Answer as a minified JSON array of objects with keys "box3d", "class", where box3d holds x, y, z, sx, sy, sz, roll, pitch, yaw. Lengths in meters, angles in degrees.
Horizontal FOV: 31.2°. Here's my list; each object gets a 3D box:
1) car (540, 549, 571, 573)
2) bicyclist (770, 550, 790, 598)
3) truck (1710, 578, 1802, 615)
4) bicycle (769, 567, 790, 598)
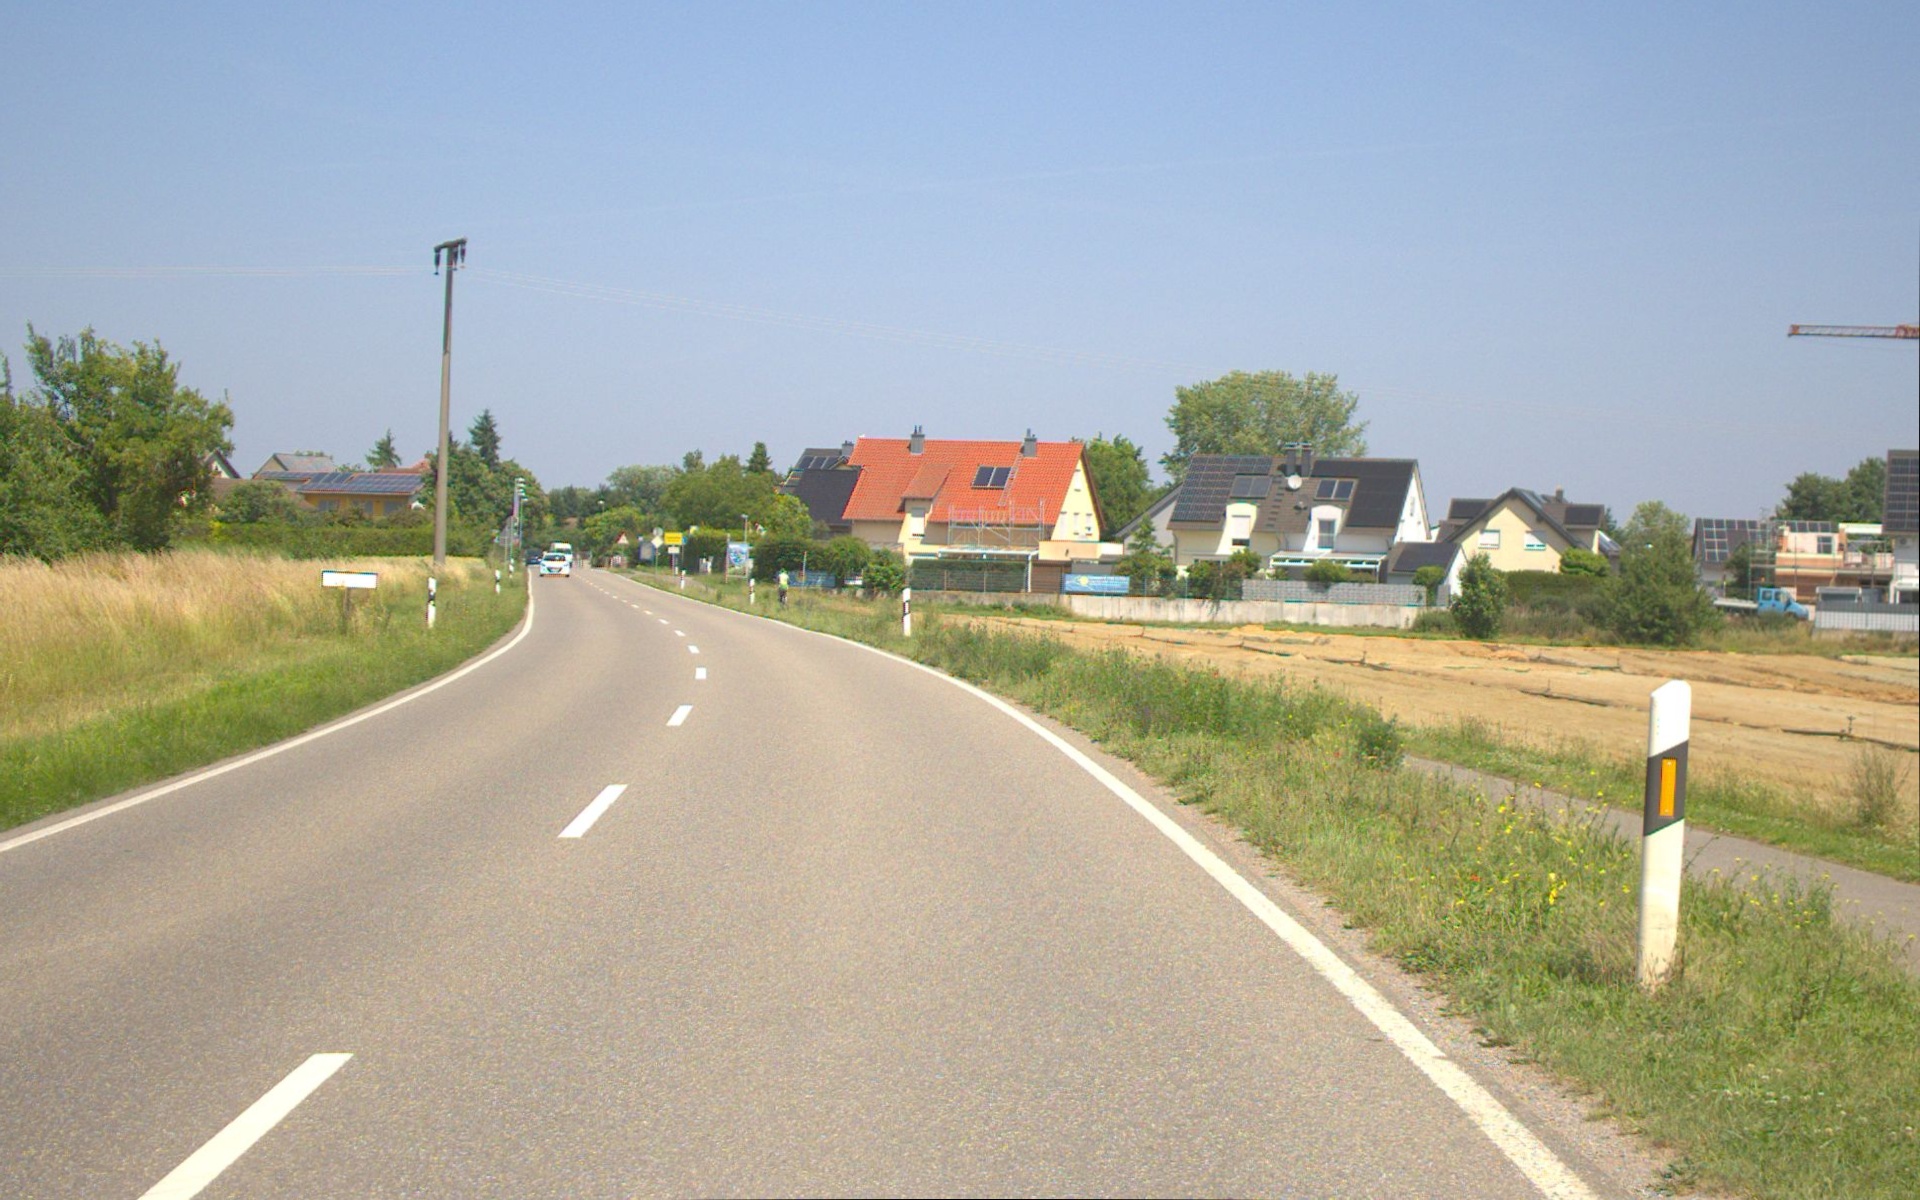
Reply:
[{"box3d":[-24.793,-2.400,210.509,1.791,1.404,4.186,1,1,-7],"class":"car"},{"box3d":[-7.359,-1.067,140.582,0.644,1.883,0.861,4,1,-8],"class":"bicyclist"},{"box3d":[51.270,-0.226,221.379,5.558,2.222,2.213,1,0,18],"class":"truck"},{"box3d":[-7.399,-0.709,140.714,0.610,1.155,2.275,4,1,-8],"class":"bicycle"}]
